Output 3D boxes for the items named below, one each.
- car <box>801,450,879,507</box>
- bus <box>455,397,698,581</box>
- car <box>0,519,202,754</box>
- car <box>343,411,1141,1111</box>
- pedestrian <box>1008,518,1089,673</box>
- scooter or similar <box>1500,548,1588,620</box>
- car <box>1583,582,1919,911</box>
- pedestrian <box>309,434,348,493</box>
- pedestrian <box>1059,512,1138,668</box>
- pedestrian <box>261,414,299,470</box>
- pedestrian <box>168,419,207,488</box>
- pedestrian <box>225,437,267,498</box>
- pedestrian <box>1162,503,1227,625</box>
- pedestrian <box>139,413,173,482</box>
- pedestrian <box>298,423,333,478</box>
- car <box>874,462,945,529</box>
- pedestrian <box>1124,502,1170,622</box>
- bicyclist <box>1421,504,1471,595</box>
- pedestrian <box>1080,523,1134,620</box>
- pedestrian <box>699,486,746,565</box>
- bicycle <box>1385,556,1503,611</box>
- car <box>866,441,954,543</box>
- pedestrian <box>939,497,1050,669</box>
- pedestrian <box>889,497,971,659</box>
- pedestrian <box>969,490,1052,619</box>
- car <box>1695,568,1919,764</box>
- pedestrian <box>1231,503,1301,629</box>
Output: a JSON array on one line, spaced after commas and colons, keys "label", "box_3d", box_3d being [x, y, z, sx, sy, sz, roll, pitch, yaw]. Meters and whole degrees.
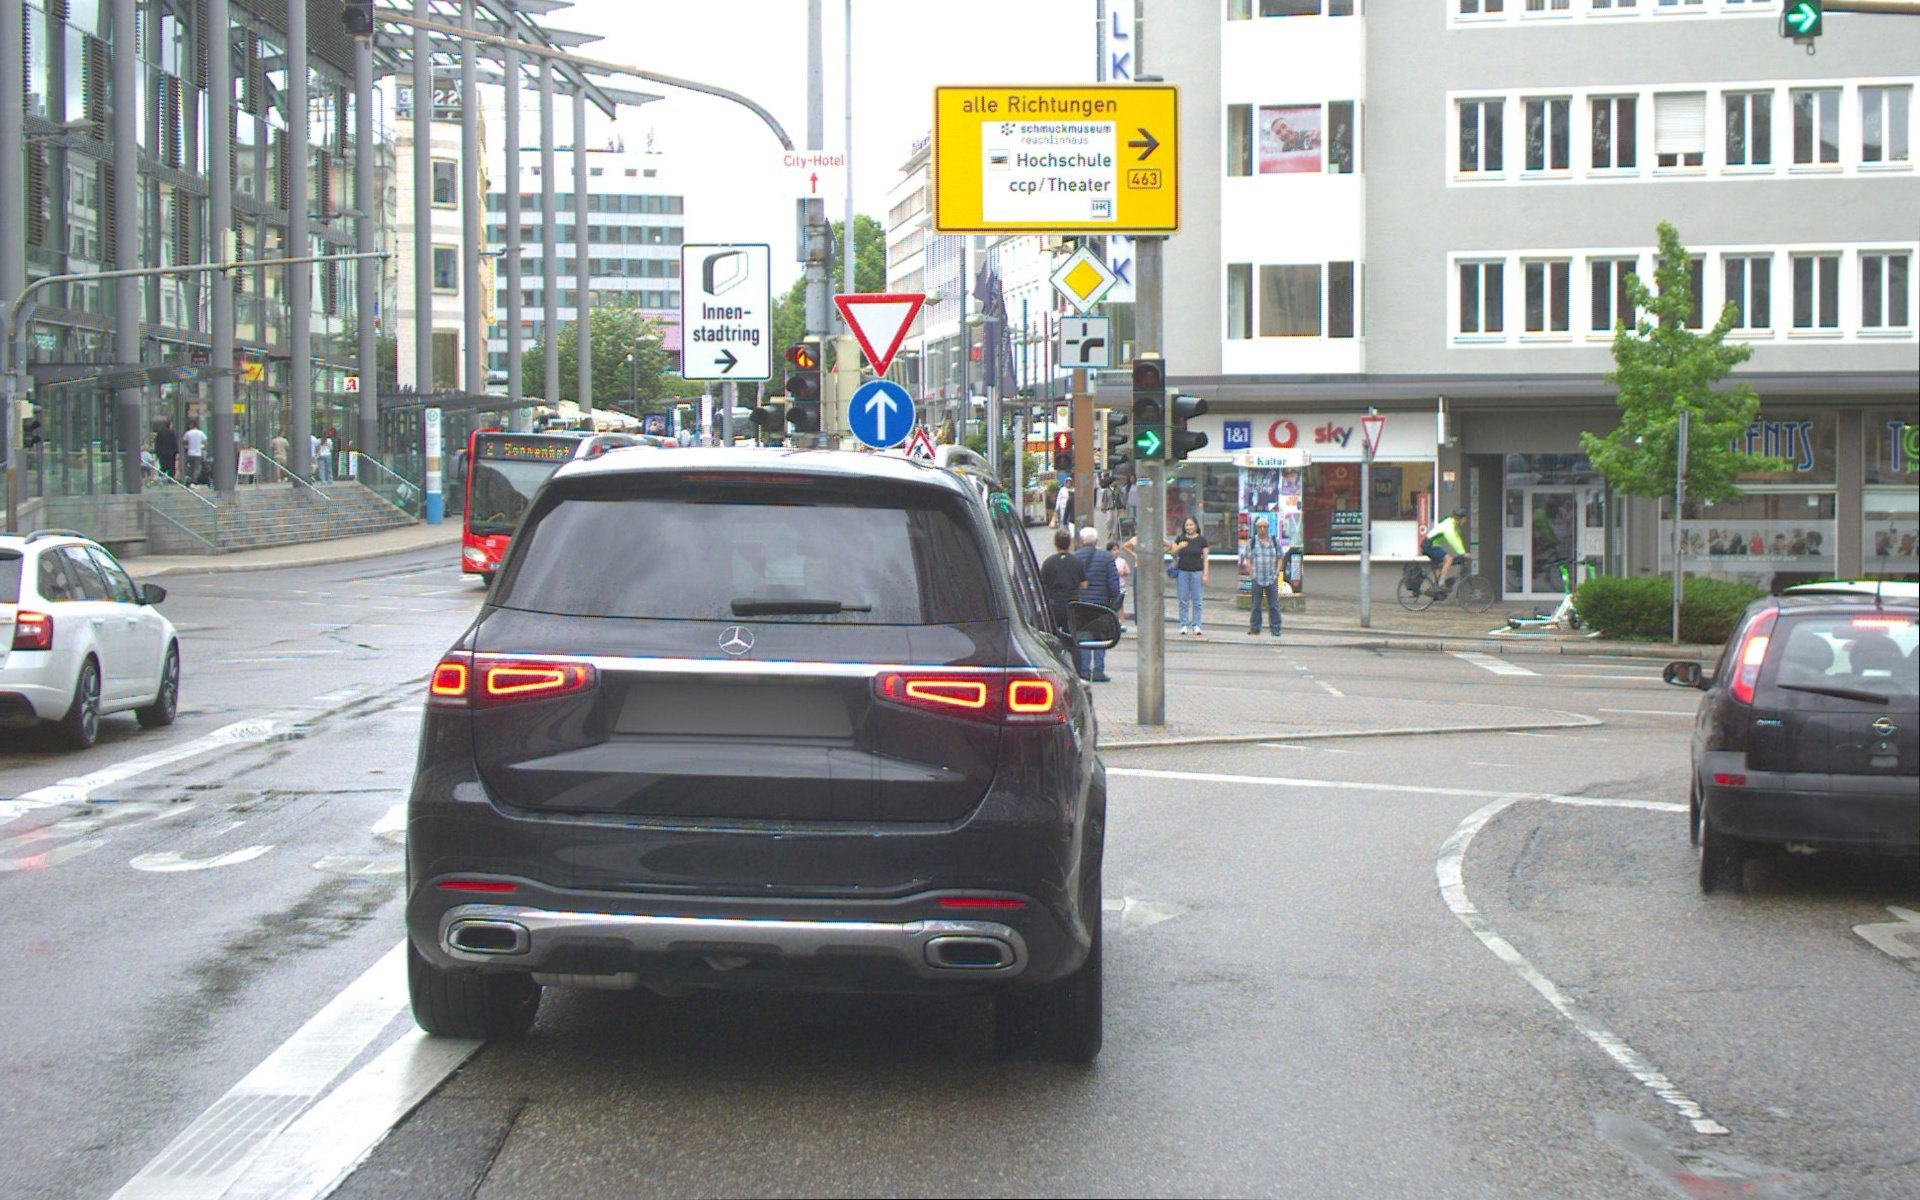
[{"label": "car", "box_3d": [-4.023, -4.098, 115.920, 2.422, 1.774, 5.155, 2, 2, -1]}, {"label": "bus", "box_3d": [-7.788, -2.283, 72.741, 2.920, 3.309, 18.480, 2, 1, 0]}, {"label": "car", "box_3d": [-6.677, 0.174, 24.003, 1.792, 1.411, 4.632, 1, 2, -1]}, {"label": "car", "box_3d": [-0.470, 0.328, 11.431, 2.088, 1.810, 4.793, 1, 2, 3]}, {"label": "pedestrian", "box_3d": [0.868, -0.046, 33.632, 0.705, 1.483, 0.560, 3, 0, 5]}, {"label": "scooter or similar", "box_3d": [9.831, -0.273, 57.871, 1.381, 1.183, 0.543, 1, 1, 20]}, {"label": "car", "box_3d": [4.257, 0.653, 17.161, 1.717, 1.415, 3.770, 2, 1, 2]}, {"label": "pedestrian", "box_3d": [-18.826, -4.072, 102.482, 1.038, 1.707, 1.008, 1, 1, -5]}, {"label": "pedestrian", "box_3d": [1.433, -0.106, 35.479, 0.713, 1.563, 0.854, 3, 1, 5]}, {"label": "pedestrian", "box_3d": [-21.342, -4.964, 107.977, 1.038, 1.707, 1.008, 1, 1, -5]}, {"label": "pedestrian", "box_3d": [-19.464, -3.698, 86.671, 0.827, 1.707, 0.802, 1, 1, -5]}, {"label": "pedestrian", "box_3d": [-20.443, -3.795, 98.495, 1.038, 1.707, 1.008, 1, 1, -5]}, {"label": "pedestrian", "box_3d": [3.306, -0.514, 48.434, 0.781, 1.683, 0.638, 3, 2, 9]}, {"label": "pedestrian", "box_3d": [-20.235, -3.831, 86.497, 0.680, 1.707, 0.850, 1, 1, -5]}, {"label": "pedestrian", "box_3d": [-20.270, -4.694, 108.113, 0.937, 1.707, 0.992, 1, 1, -5]}, {"label": "car", "box_3d": [-1.480, -3.034, 99.379, 1.860, 1.819, 4.104, 2, 2, -3]}, {"label": "pedestrian", "box_3d": [2.641, -0.538, 48.461, 0.569, 1.663, 0.501, 2, 1, 7]}, {"label": "bicyclist", "box_3d": [9.166, -0.952, 64.865, 0.845, 1.698, 0.622, 1, 1, 14]}, {"label": "pedestrian", "box_3d": [2.073, -0.403, 48.524, 0.630, 1.335, 0.588, 2, 2, -6]}, {"label": "pedestrian", "box_3d": [-5.857, -1.839, 84.734, 0.955, 1.880, 0.810, 3, 2, 7]}, {"label": "bicycle", "box_3d": [9.137, -0.319, 64.877, 2.139, 0.989, 0.694, 1, 1, 14]}, {"label": "car", "box_3d": [-1.591, -3.338, 105.935, 2.444, 2.947, 6.154, 2, 2, -2]}, {"label": "pedestrian", "box_3d": [0.353, -0.182, 34.526, 0.978, 1.666, 0.915, 3, 2, 6]}, {"label": "pedestrian", "box_3d": [-0.317, -0.234, 36.879, 0.756, 1.686, 0.693, 3, 0, 5]}, {"label": "pedestrian", "box_3d": [0.712, -0.653, 48.914, 1.009, 1.781, 0.853, 2, 2, -6]}, {"label": "car", "box_3d": [8.863, 0.556, 31.555, 3.988, 1.568, 1.956, 0, 4, -38]}, {"label": "pedestrian", "box_3d": [4.408, -0.492, 49.569, 0.829, 1.772, 0.618, 2, 2, -6]}]
